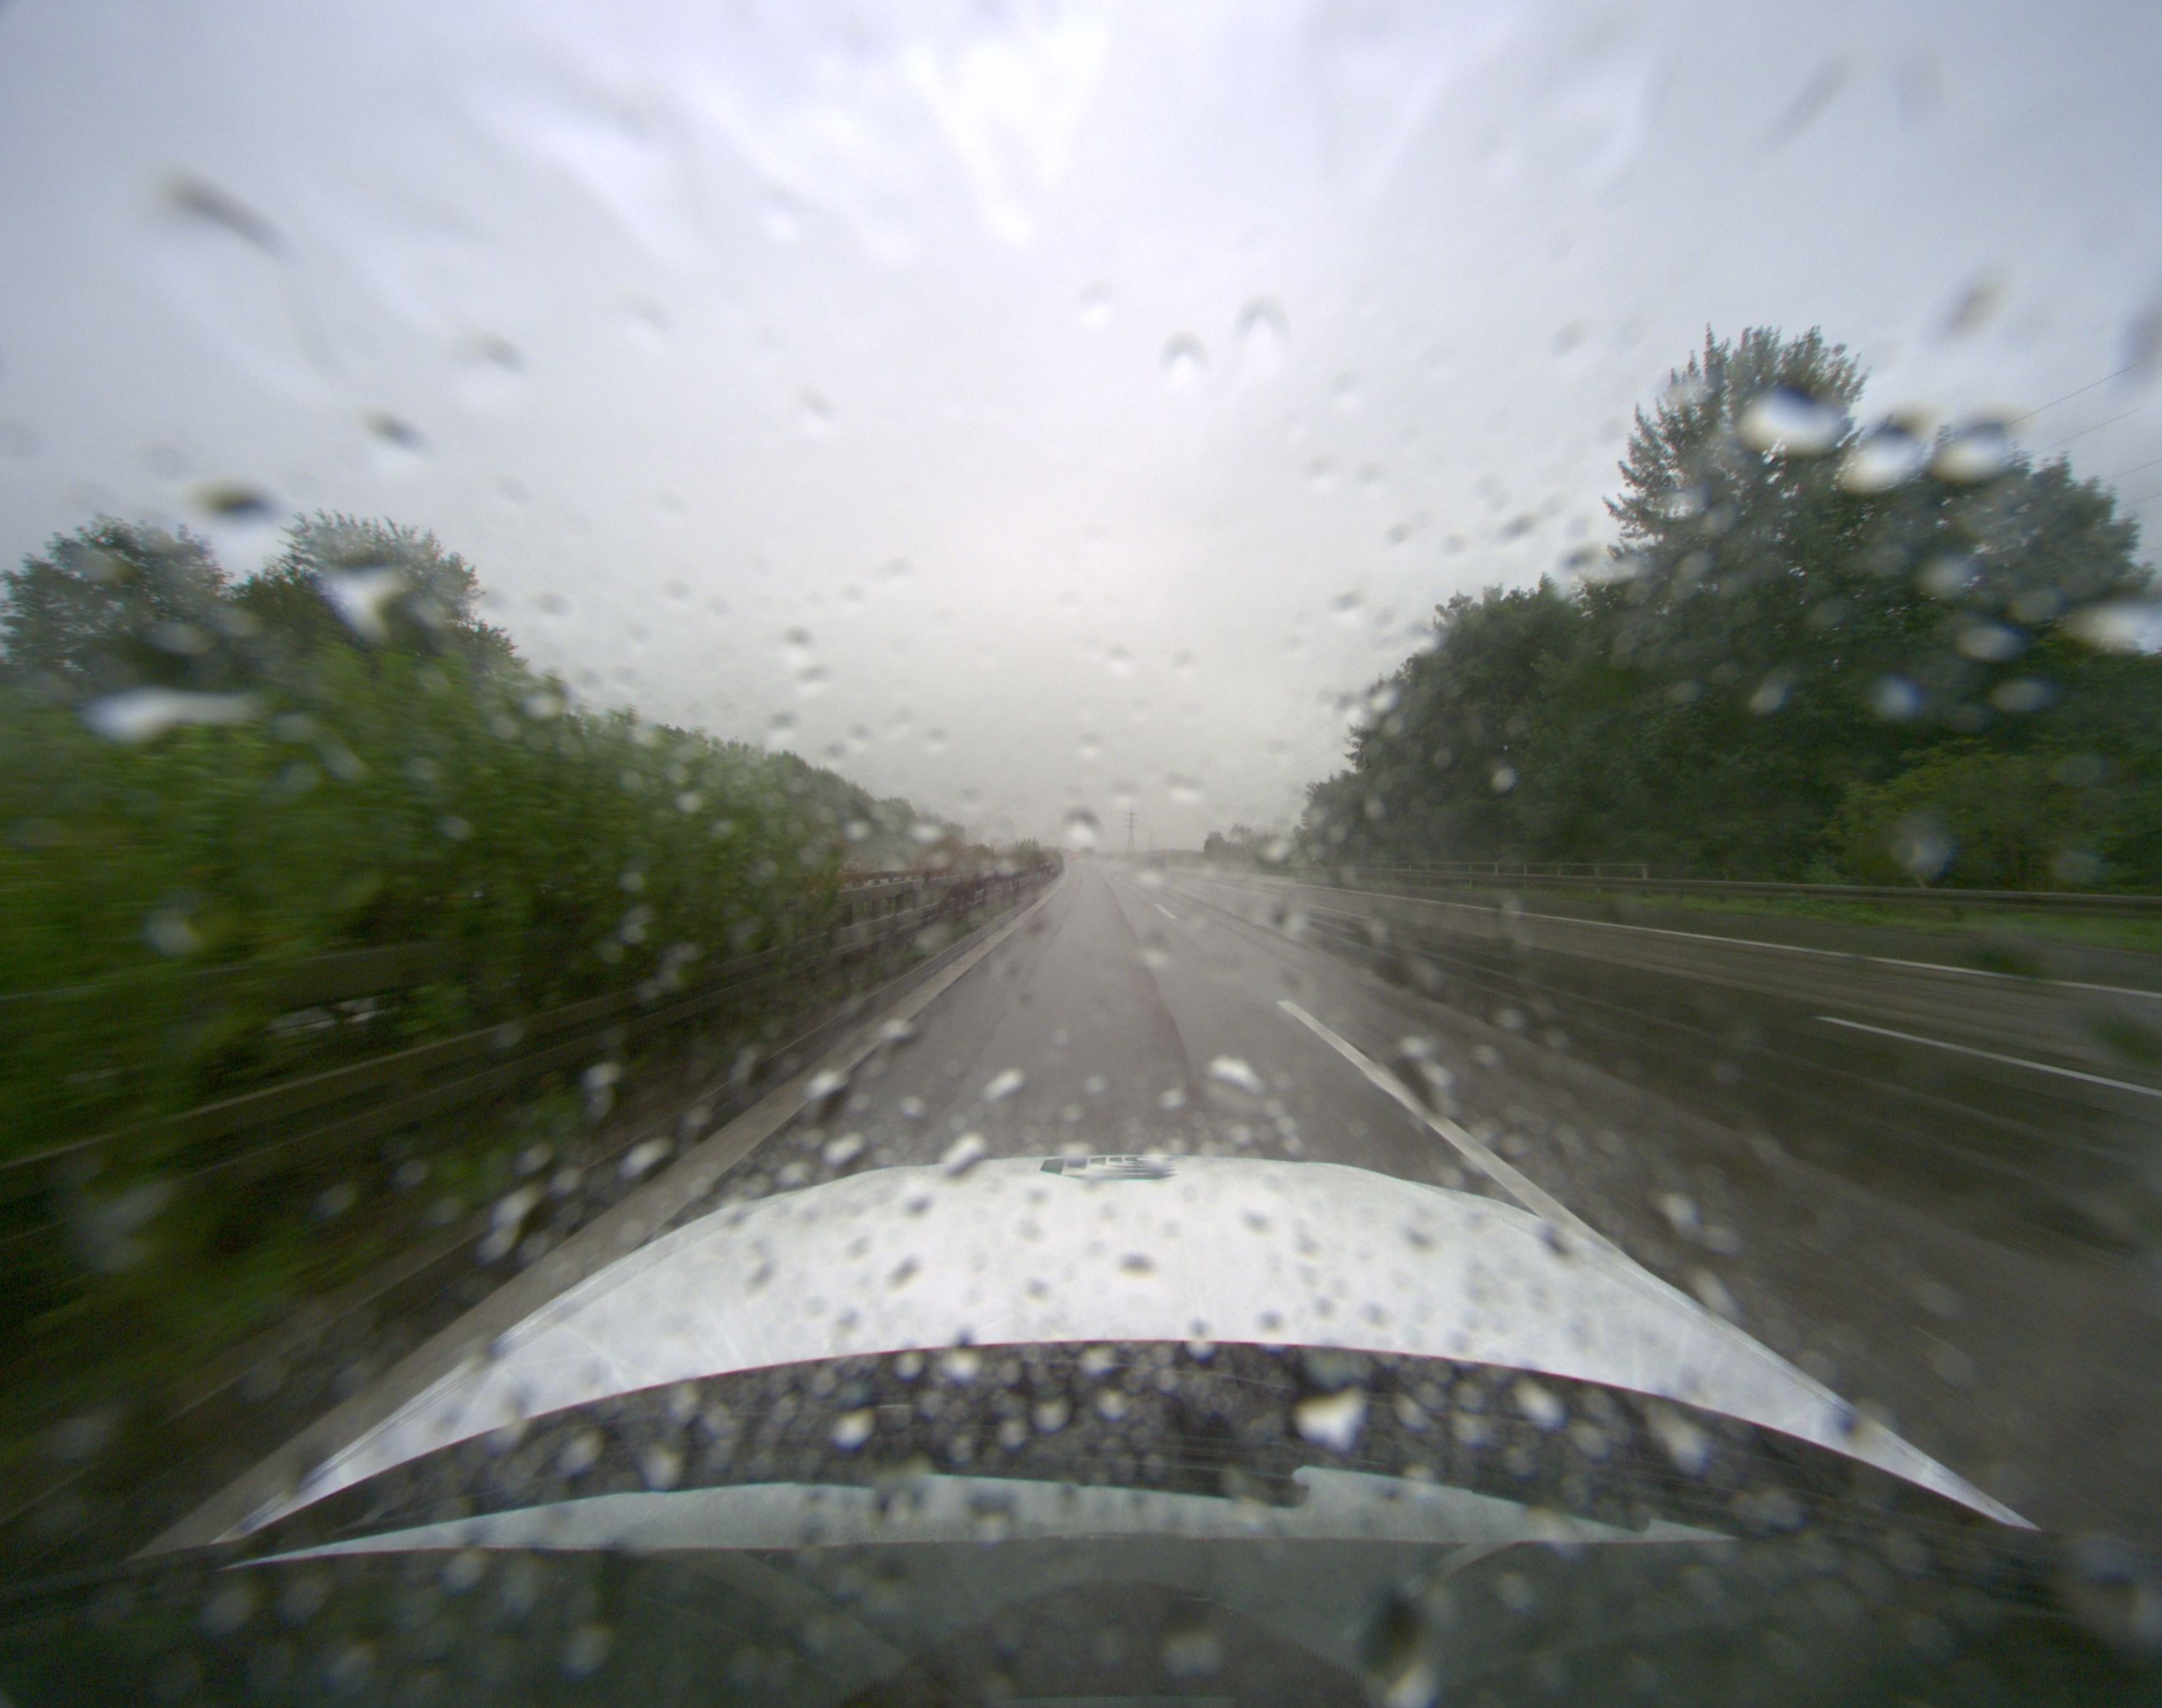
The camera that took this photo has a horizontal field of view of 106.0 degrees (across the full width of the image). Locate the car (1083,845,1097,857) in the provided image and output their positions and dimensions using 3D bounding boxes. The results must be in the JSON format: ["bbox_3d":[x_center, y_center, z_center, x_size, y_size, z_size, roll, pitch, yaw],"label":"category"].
[{"bbox_3d":[2.437,-0.811,230.254,3.195,3.193,7.243,0,0,-5],"label":"car"}]

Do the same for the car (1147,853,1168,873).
[{"bbox_3d":[8.612,1.027,91.826,1.803,2.158,3.995,0,0,-4],"label":"car"}]
